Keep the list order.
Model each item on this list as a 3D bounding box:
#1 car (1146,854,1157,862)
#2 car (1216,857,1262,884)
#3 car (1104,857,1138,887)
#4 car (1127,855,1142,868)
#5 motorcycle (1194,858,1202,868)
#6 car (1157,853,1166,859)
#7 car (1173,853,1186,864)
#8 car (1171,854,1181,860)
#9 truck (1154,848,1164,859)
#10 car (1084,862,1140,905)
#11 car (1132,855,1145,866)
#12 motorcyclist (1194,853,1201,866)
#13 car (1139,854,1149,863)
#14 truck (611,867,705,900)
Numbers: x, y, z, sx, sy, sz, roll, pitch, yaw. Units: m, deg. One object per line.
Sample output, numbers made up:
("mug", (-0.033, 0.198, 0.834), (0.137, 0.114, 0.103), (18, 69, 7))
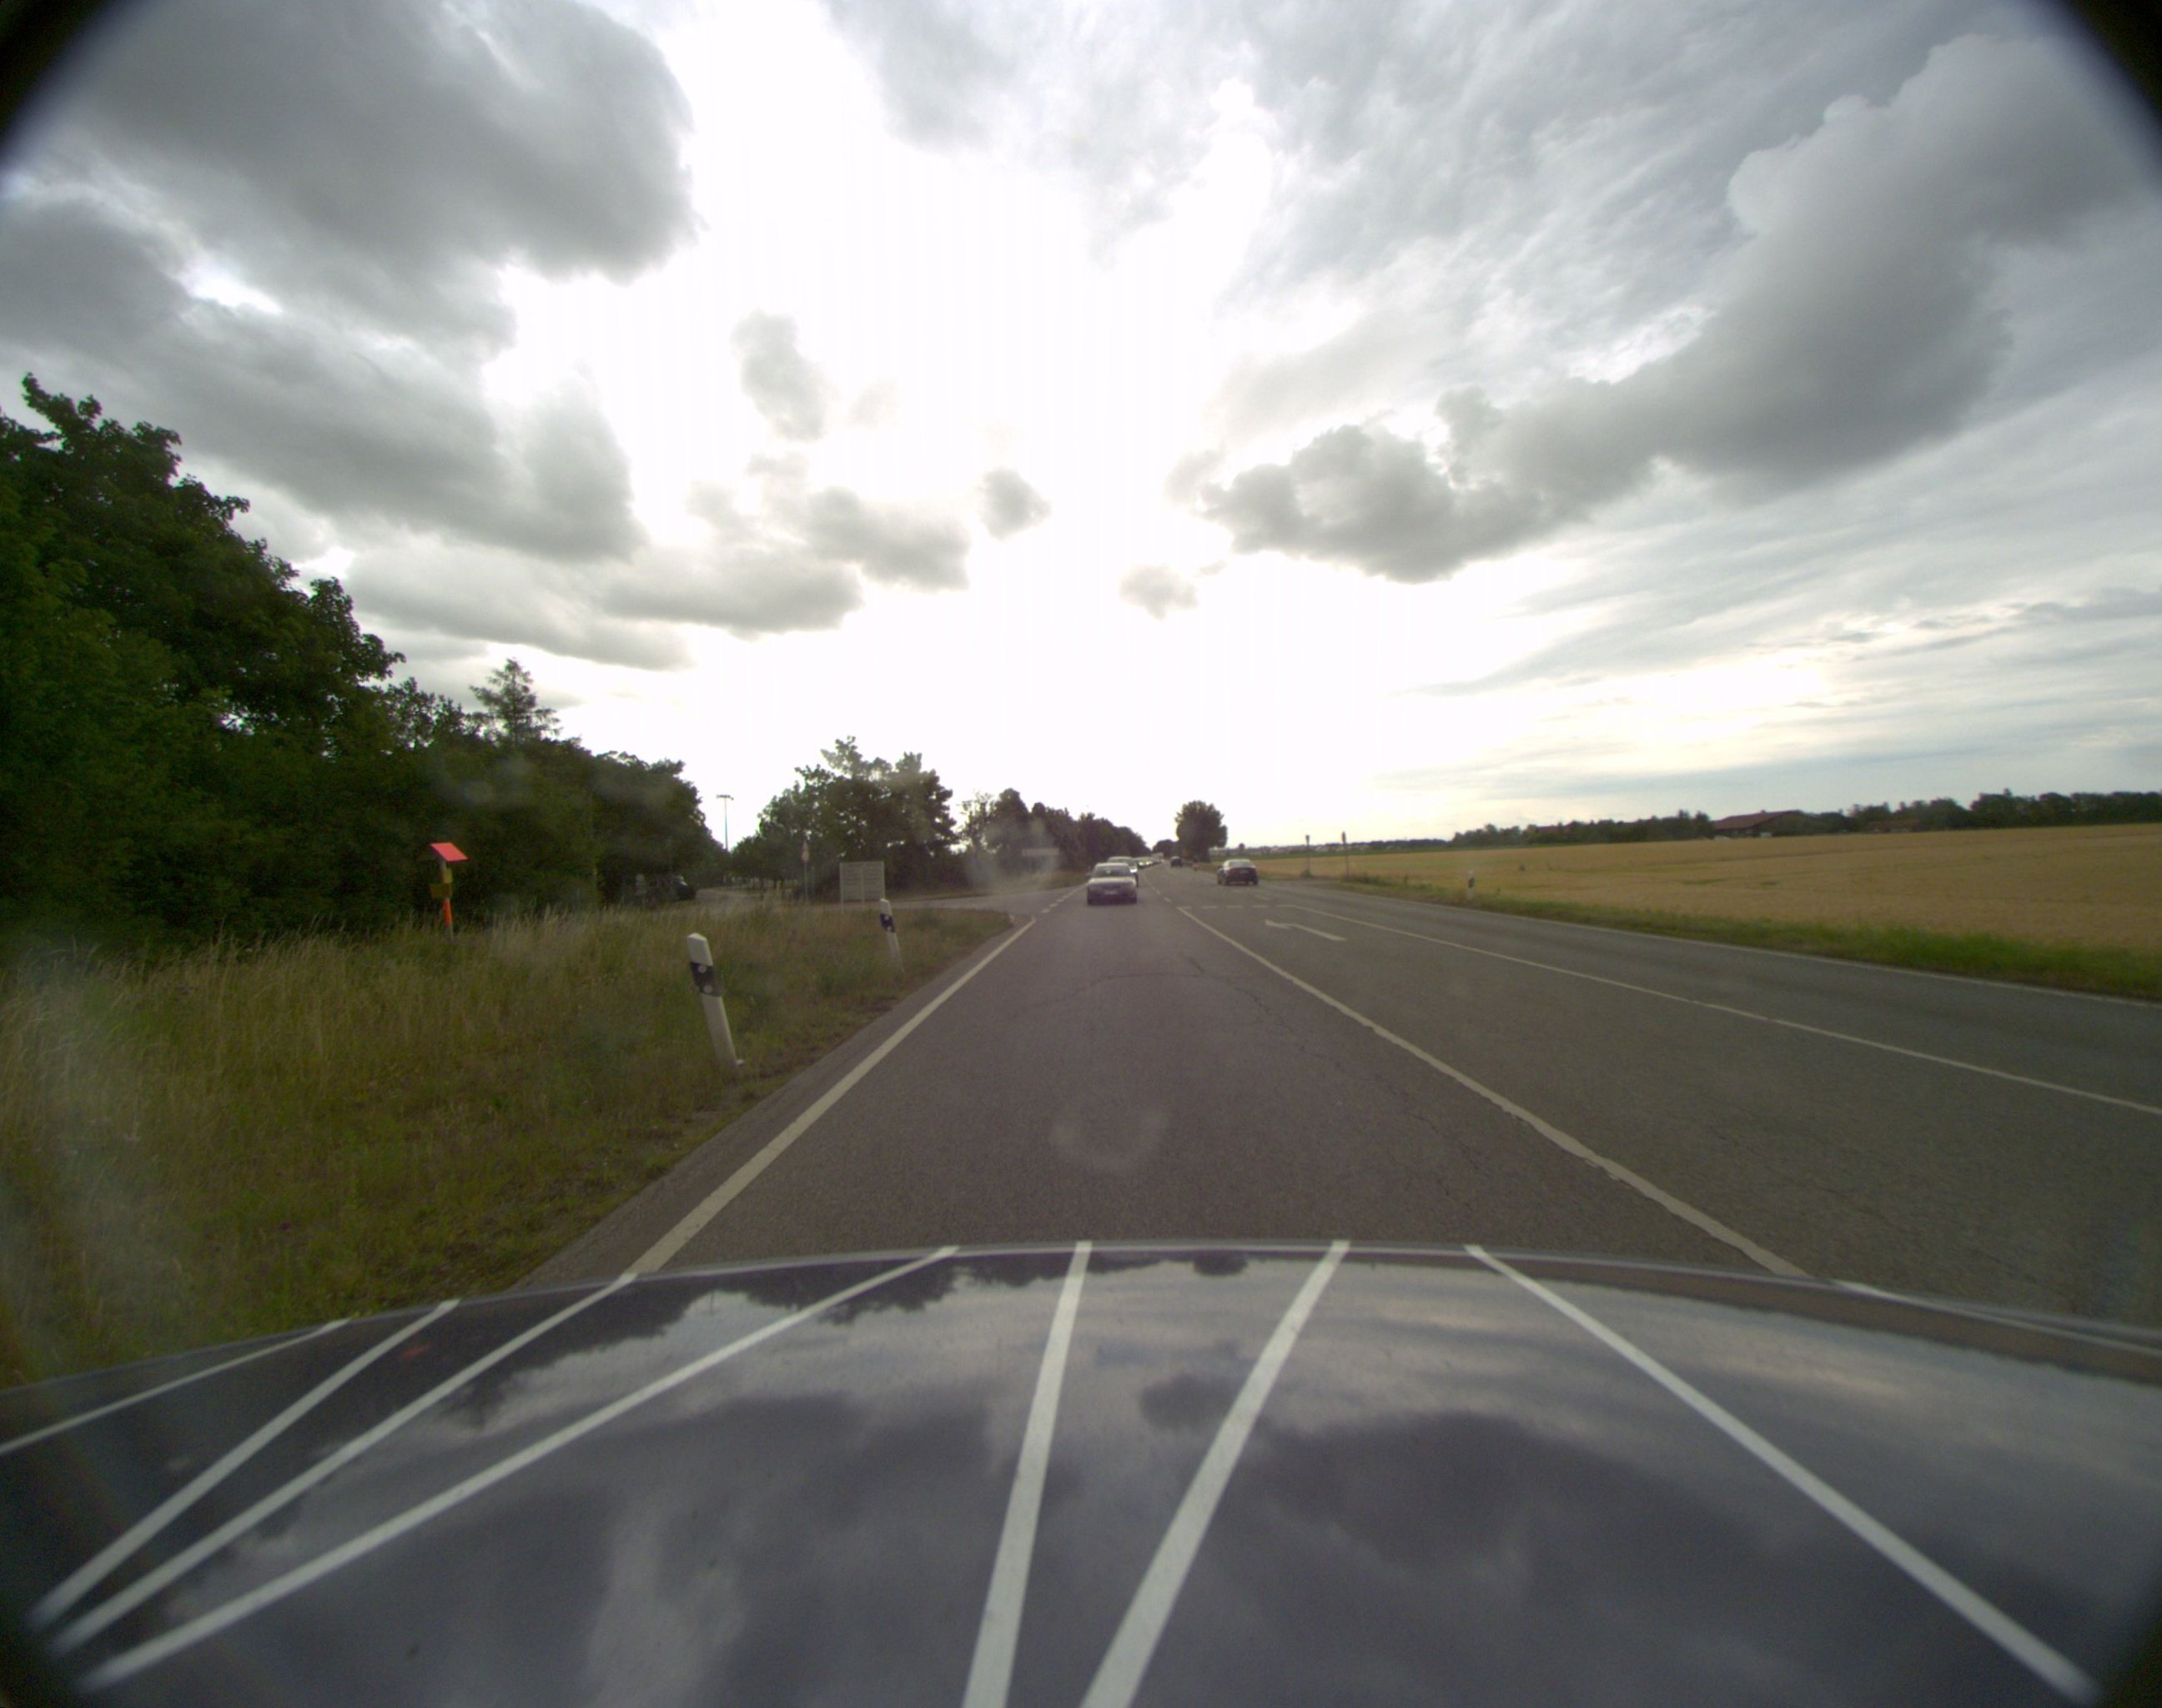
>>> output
("car", (14.085, 0.729, 150.983), (1.792, 1.573, 4.140), (-2, 0, 10))
("car", (8.826, 0.905, 42.714), (1.831, 1.402, 4.425), (-1, 0, 3))
("car", (2.274, 0.981, 43.069), (1.793, 1.573, 4.368), (-2, 0, 3))
("car", (6.819, 0.928, 97.339), (1.793, 1.573, 4.369), (-2, 0, 5))
("motorcycle", (13.349, 1.036, 87.054), (0.727, 1.142, 2.025), (-1, 0, 4))
("car", (20.156, 0.418, 189.536), (1.792, 1.530, 4.140), (-2, 0, 11))
("car", (16.104, 0.679, 124.005), (1.951, 1.684, 4.448), (-1, 0, 5))
("car", (23.582, 0.808, 188.772), (1.997, 1.501, 4.004), (0, 0, 12))
("truck", (21.455, -0.154, 208.638), (2.318, 2.749, 7.678), (-2, 0, 10))
("car", (1.217, 1.028, 28.065), (1.793, 1.415, 4.369), (-2, 0, 6))
("car", (8.392, 0.947, 110.437), (1.793, 1.573, 4.189), (-2, 0, 5))
("motorcyclist", (13.336, 0.622, 87.044), (0.641, 1.376, 0.809), (-1, 1, 4))
("car", (11.798, 0.820, 141.953), (1.793, 1.573, 4.139), (-2, 0, 7))
("truck", (-44.620, 3.031, 80.536), (8.382, 3.091, 3.067), (-2, 0, -24))
